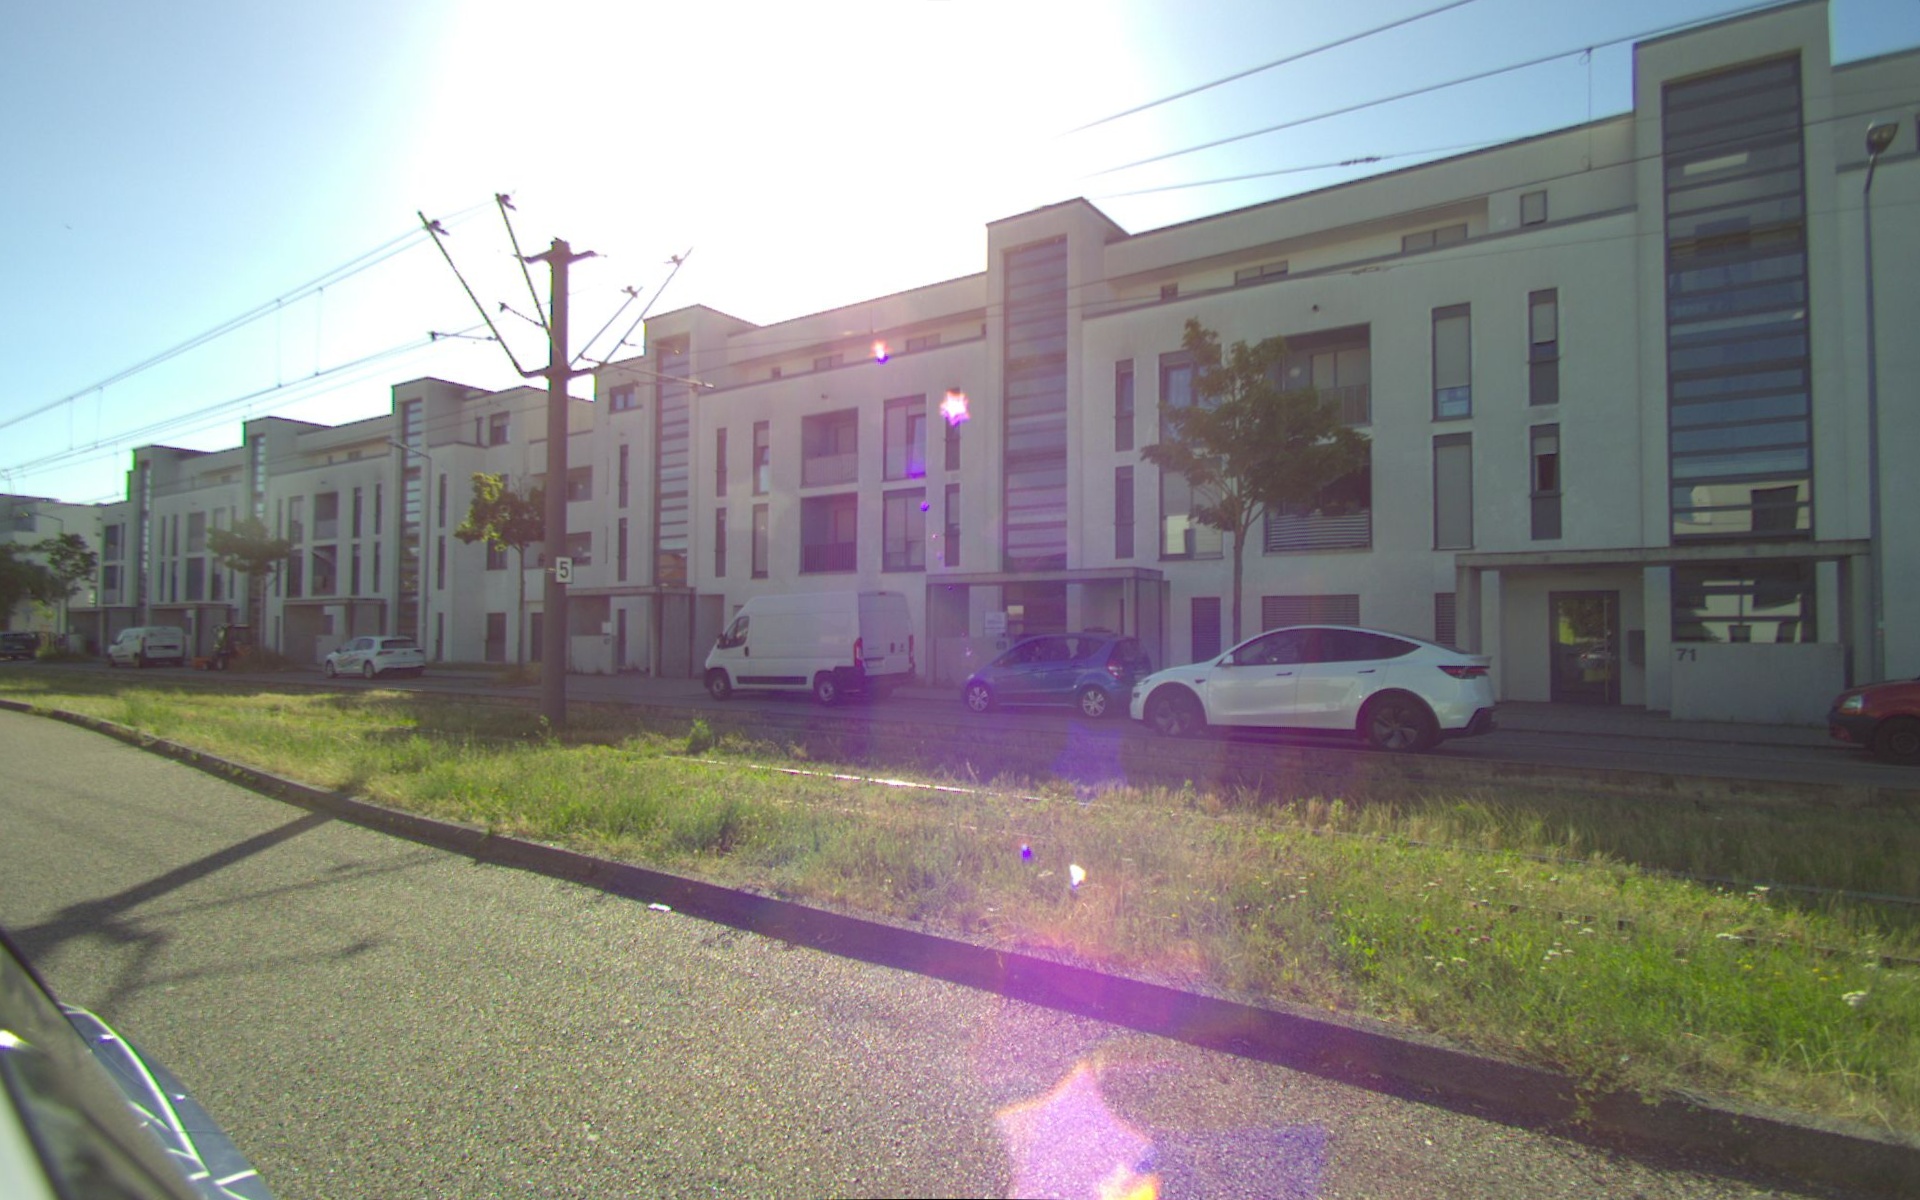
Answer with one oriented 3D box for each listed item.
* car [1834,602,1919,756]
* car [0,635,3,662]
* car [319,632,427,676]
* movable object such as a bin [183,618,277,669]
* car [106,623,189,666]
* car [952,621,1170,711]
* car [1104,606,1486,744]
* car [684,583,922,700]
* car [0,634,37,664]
[{"bbox_3d":[12.974,0.908,11.952,3.831,1.809,1.863,-2,-1,37],"label":"car"},{"bbox_3d":[-58.802,2.905,60.225,4.143,1.611,1.748,-2,-1,32],"label":"car"},{"bbox_3d":[-20.516,1.857,35.321,4.143,1.443,1.505,-2,-1,32],"label":"car"},{"bbox_3d":[-30.175,1.778,41.816,4.143,1.952,1.748,-2,-1,32],"label":"movable object such as a bin"},{"bbox_3d":[-37.466,2.030,46.640,4.143,1.884,1.748,-2,-1,32],"label":"car"},{"bbox_3d":[1.925,1.219,19.710,3.835,1.548,1.808,-2,-1,36],"label":"car"},{"bbox_3d":[4.516,0.981,13.936,4.635,1.608,1.977,-2,-4,34],"label":"car"},{"bbox_3d":[-3.763,0.930,23.701,5.576,2.463,2.122,-2,-1,35],"label":"car"},{"bbox_3d":[-54.044,2.768,57.215,4.143,1.611,1.748,-2,-1,32],"label":"car"}]
